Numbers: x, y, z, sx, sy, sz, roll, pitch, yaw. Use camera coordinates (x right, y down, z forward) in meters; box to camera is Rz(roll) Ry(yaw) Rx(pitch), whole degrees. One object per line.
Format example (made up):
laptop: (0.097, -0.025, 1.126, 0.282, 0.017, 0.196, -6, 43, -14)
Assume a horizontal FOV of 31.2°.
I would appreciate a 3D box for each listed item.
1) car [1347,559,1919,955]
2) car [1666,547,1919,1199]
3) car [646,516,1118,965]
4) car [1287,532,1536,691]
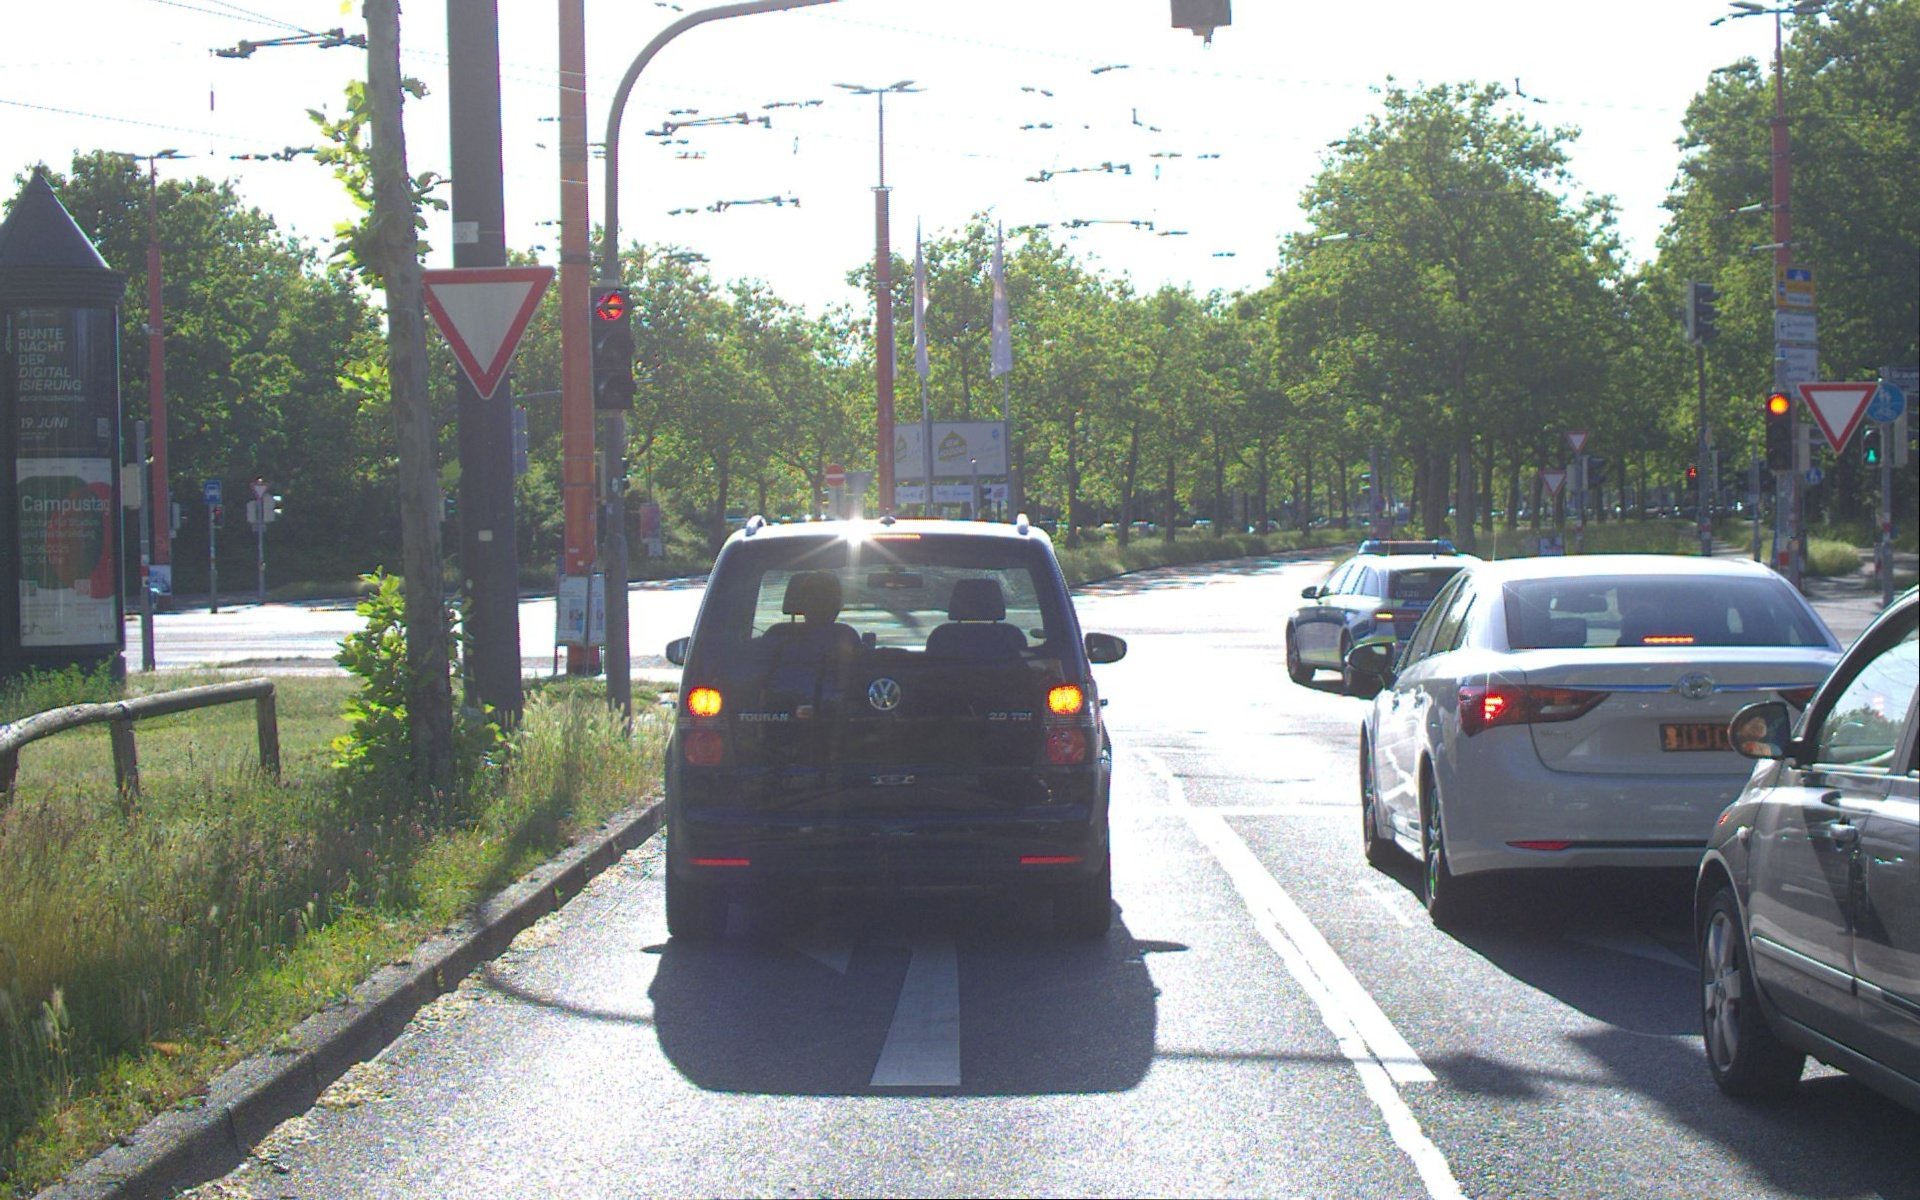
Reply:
car: (2.720, 0.552, 14.777, 1.720, 1.433, 4.198, 0, 1, 1)
car: (2.876, 0.632, 8.173, 1.654, 1.495, 3.614, 0, 1, 0)
car: (-0.306, 0.478, 14.470, 1.700, 1.616, 3.897, -1, 1, -1)
car: (4.937, 0.087, 38.102, 1.797, 1.650, 4.115, -1, 1, -6)
